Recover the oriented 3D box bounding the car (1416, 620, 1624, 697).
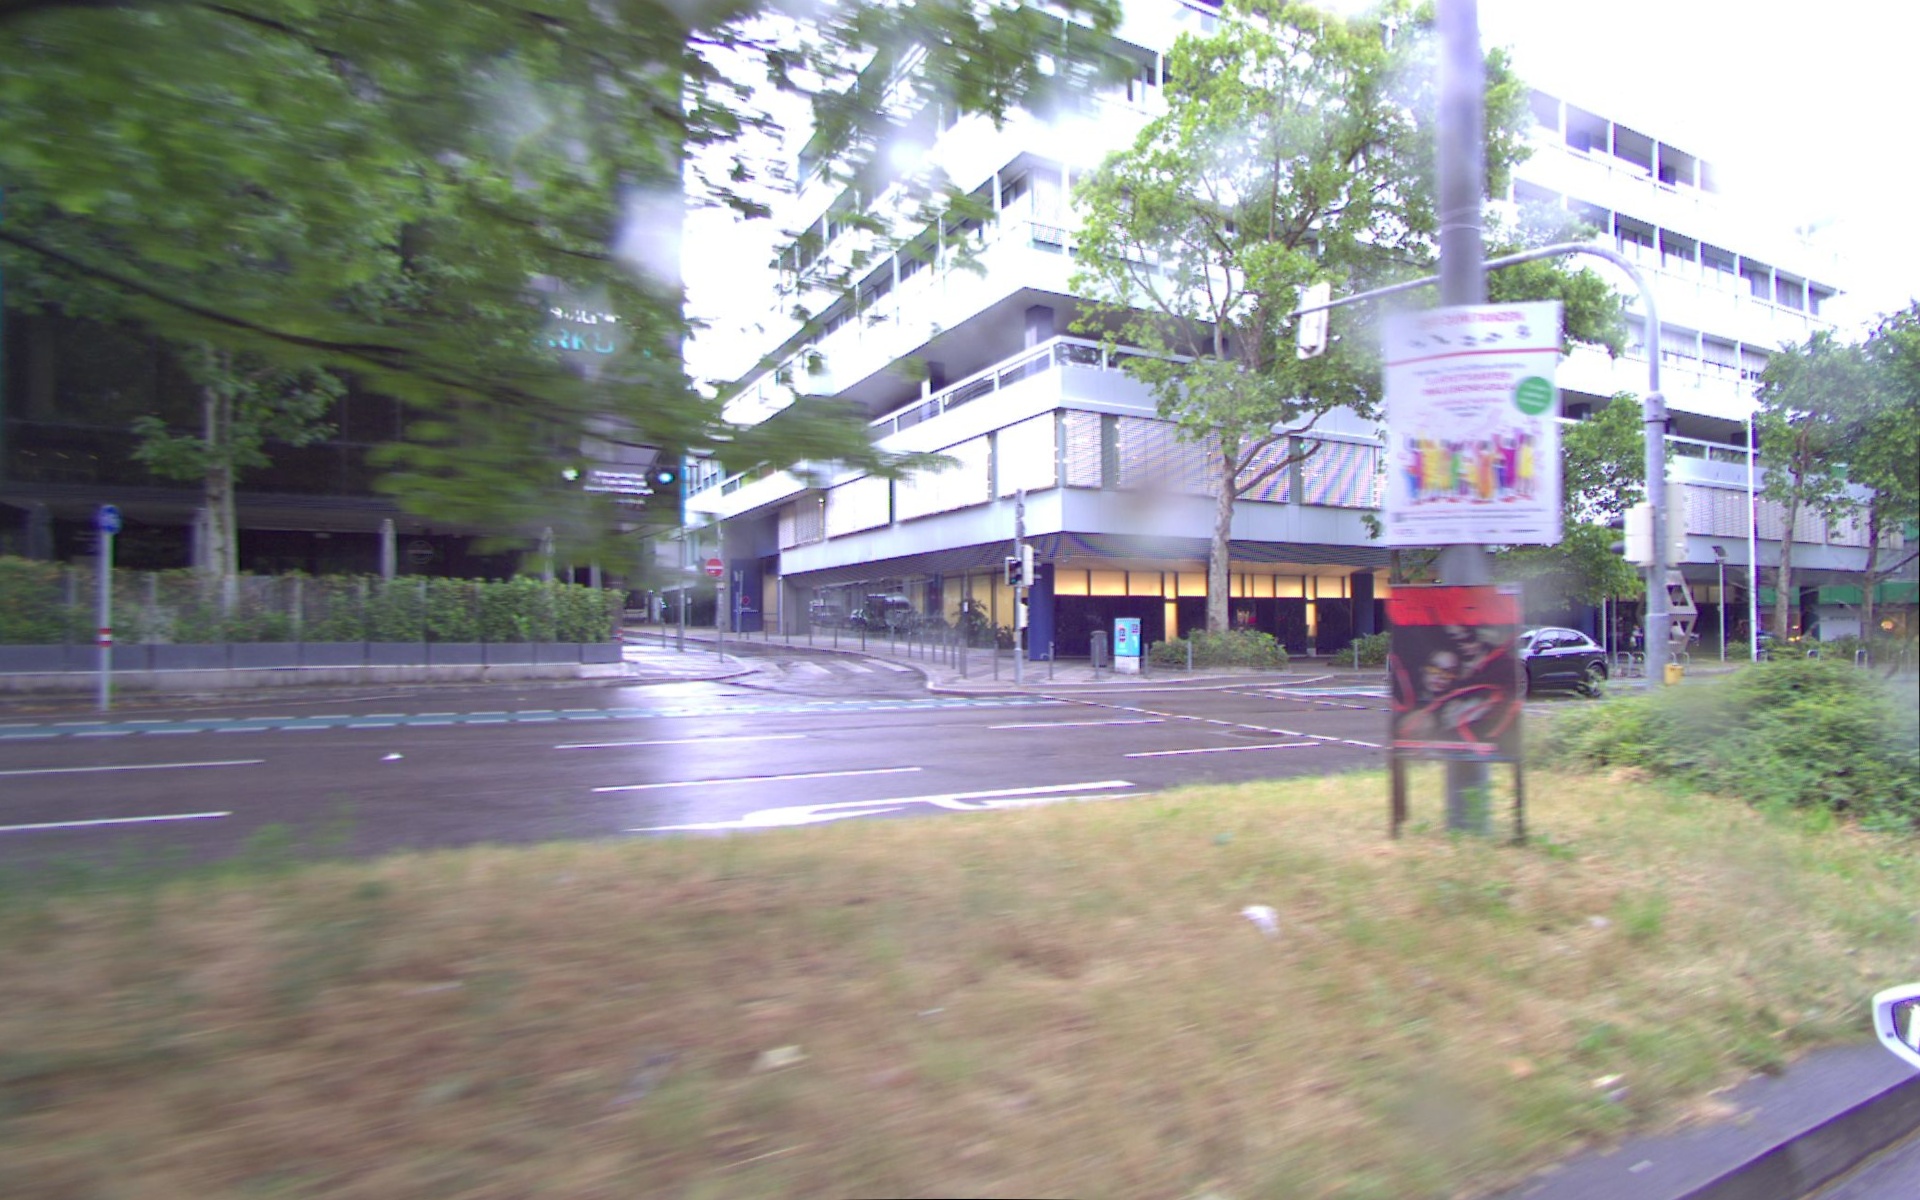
[{"bbox_3d":[13.116,1.367,23.493,4.683,1.605,1.903,2,0,-26],"label":"car"}]

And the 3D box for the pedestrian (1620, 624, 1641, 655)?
[{"bbox_3d":[30.472,1.788,45.671,0.469,1.398,0.634,2,0,-32],"label":"pedestrian"}]

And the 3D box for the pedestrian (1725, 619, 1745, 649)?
[{"bbox_3d":[40.025,1.754,51.866,0.568,1.502,0.606,2,0,-32],"label":"pedestrian"}]
